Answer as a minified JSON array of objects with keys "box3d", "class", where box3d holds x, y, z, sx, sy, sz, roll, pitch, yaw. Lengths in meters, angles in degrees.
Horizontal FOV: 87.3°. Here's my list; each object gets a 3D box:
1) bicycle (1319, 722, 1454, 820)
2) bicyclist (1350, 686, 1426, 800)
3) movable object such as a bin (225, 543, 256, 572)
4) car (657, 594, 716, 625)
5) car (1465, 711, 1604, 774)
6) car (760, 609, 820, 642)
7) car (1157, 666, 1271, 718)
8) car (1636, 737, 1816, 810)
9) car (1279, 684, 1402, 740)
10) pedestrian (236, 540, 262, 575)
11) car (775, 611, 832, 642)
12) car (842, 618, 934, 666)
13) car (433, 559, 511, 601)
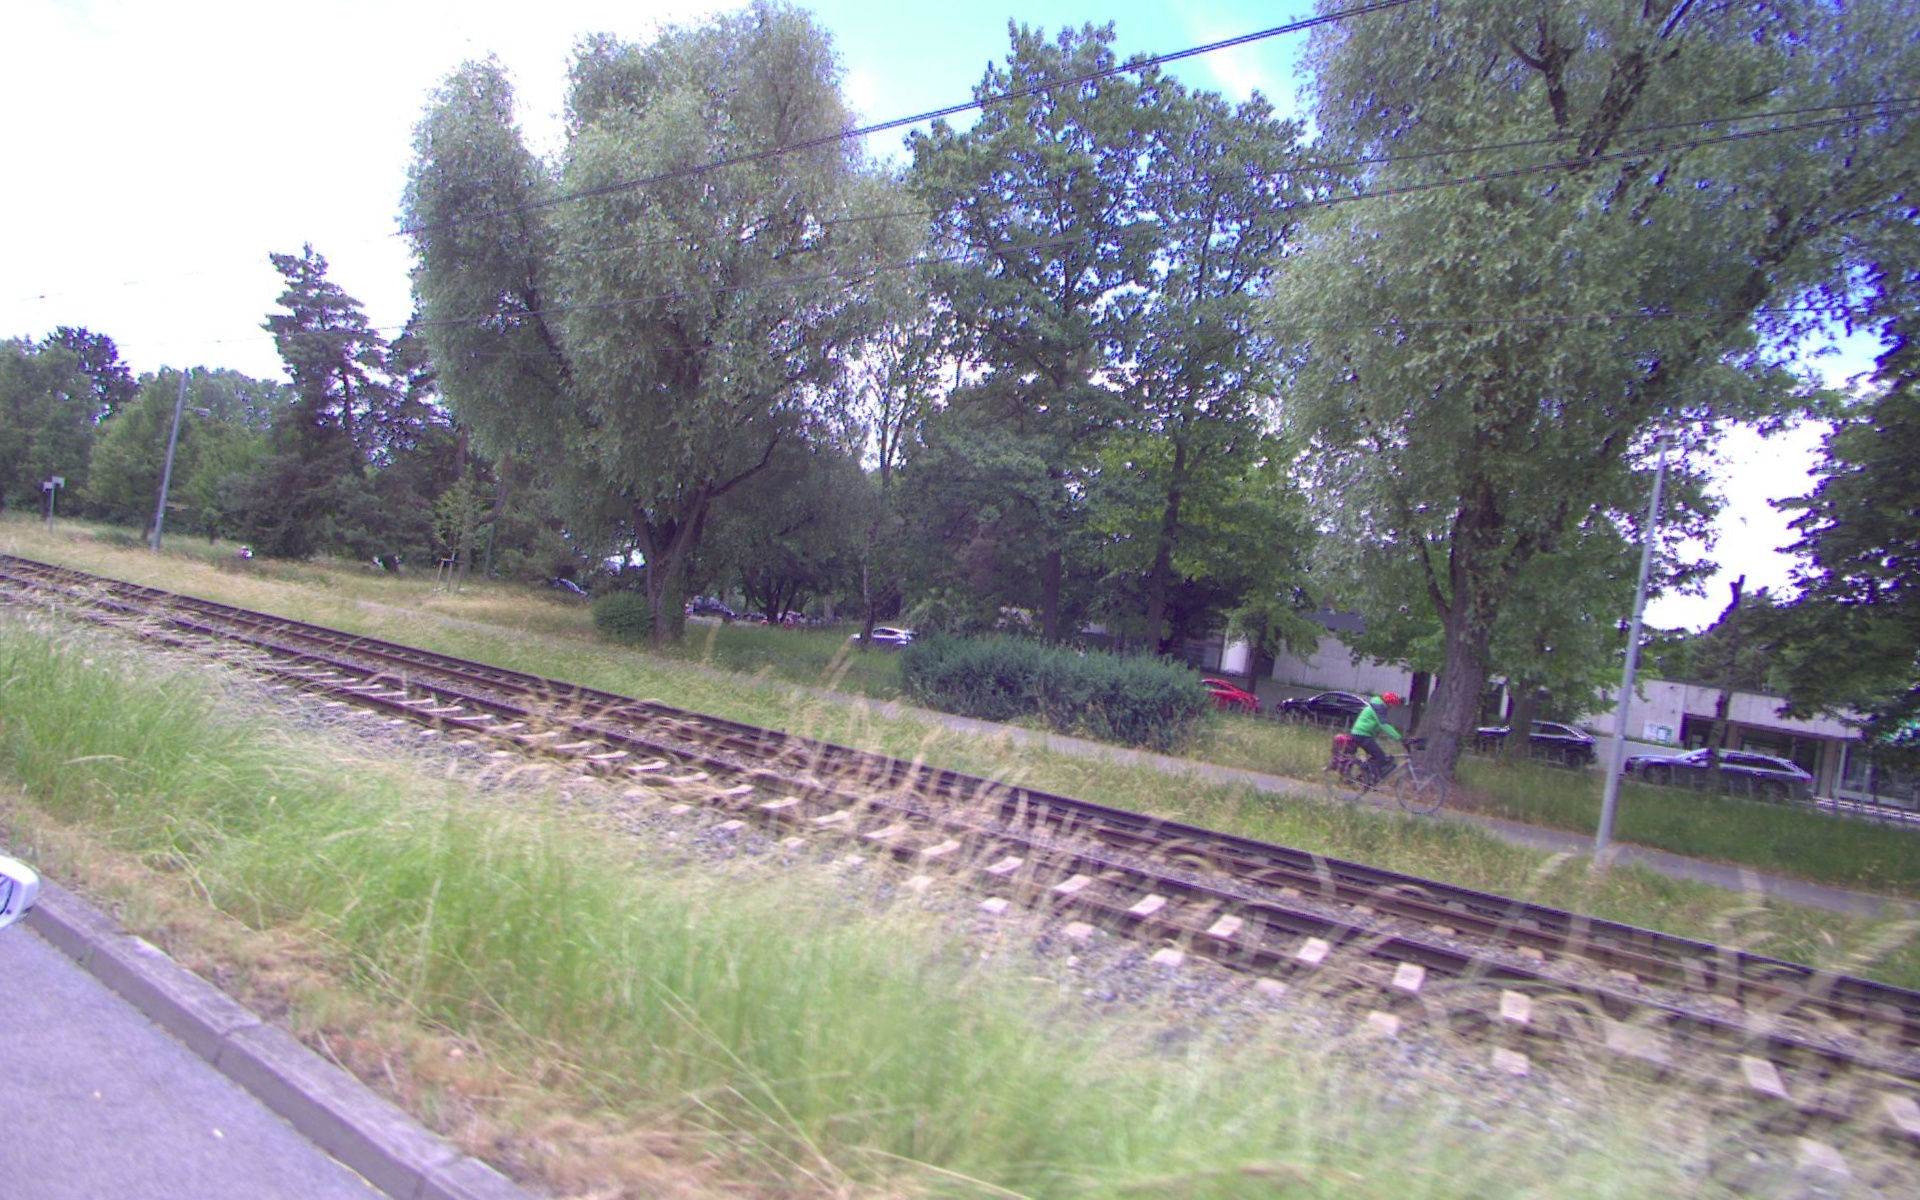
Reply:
[{"box3d":[7.088,2.812,16.753,1.896,1.260,0.582,7,-2,28],"class":"bicycle"},{"box3d":[7.139,2.366,16.776,0.919,1.715,0.582,7,-2,28],"class":"bicyclist"},{"box3d":[-36.188,-2.119,50.598,0.650,1.325,1.637,8,-2,-17],"class":"movable object such as a bin"},{"box3d":[-22.097,0.748,81.364,3.925,1.832,2.003,8,-2,6],"class":"car"},{"box3d":[19.887,4.923,34.907,3.934,1.458,1.999,7,-3,32],"class":"car"},{"box3d":[-12.222,1.822,72.510,3.744,1.752,1.834,8,-3,6],"class":"car"},{"box3d":[10.301,3.726,40.829,3.934,1.458,1.999,7,-3,32],"class":"car"},{"box3d":[24.341,5.473,32.200,4.274,1.458,1.999,7,-3,32],"class":"car"},{"box3d":[14.438,4.247,38.183,3.934,1.458,1.999,7,-3,32],"class":"car"},{"box3d":[-36.687,-2.191,51.926,0.648,1.686,0.955,8,-2,-18],"class":"pedestrian"},{"box3d":[-11.981,2.059,77.281,3.744,1.752,1.834,8,-3,6],"class":"car"},{"box3d":[-3.564,2.056,49.483,3.936,1.718,1.998,7,-4,34],"class":"car"},{"box3d":[-29.225,-1.195,60.305,3.925,1.823,1.752,8,-2,19],"class":"car"}]
